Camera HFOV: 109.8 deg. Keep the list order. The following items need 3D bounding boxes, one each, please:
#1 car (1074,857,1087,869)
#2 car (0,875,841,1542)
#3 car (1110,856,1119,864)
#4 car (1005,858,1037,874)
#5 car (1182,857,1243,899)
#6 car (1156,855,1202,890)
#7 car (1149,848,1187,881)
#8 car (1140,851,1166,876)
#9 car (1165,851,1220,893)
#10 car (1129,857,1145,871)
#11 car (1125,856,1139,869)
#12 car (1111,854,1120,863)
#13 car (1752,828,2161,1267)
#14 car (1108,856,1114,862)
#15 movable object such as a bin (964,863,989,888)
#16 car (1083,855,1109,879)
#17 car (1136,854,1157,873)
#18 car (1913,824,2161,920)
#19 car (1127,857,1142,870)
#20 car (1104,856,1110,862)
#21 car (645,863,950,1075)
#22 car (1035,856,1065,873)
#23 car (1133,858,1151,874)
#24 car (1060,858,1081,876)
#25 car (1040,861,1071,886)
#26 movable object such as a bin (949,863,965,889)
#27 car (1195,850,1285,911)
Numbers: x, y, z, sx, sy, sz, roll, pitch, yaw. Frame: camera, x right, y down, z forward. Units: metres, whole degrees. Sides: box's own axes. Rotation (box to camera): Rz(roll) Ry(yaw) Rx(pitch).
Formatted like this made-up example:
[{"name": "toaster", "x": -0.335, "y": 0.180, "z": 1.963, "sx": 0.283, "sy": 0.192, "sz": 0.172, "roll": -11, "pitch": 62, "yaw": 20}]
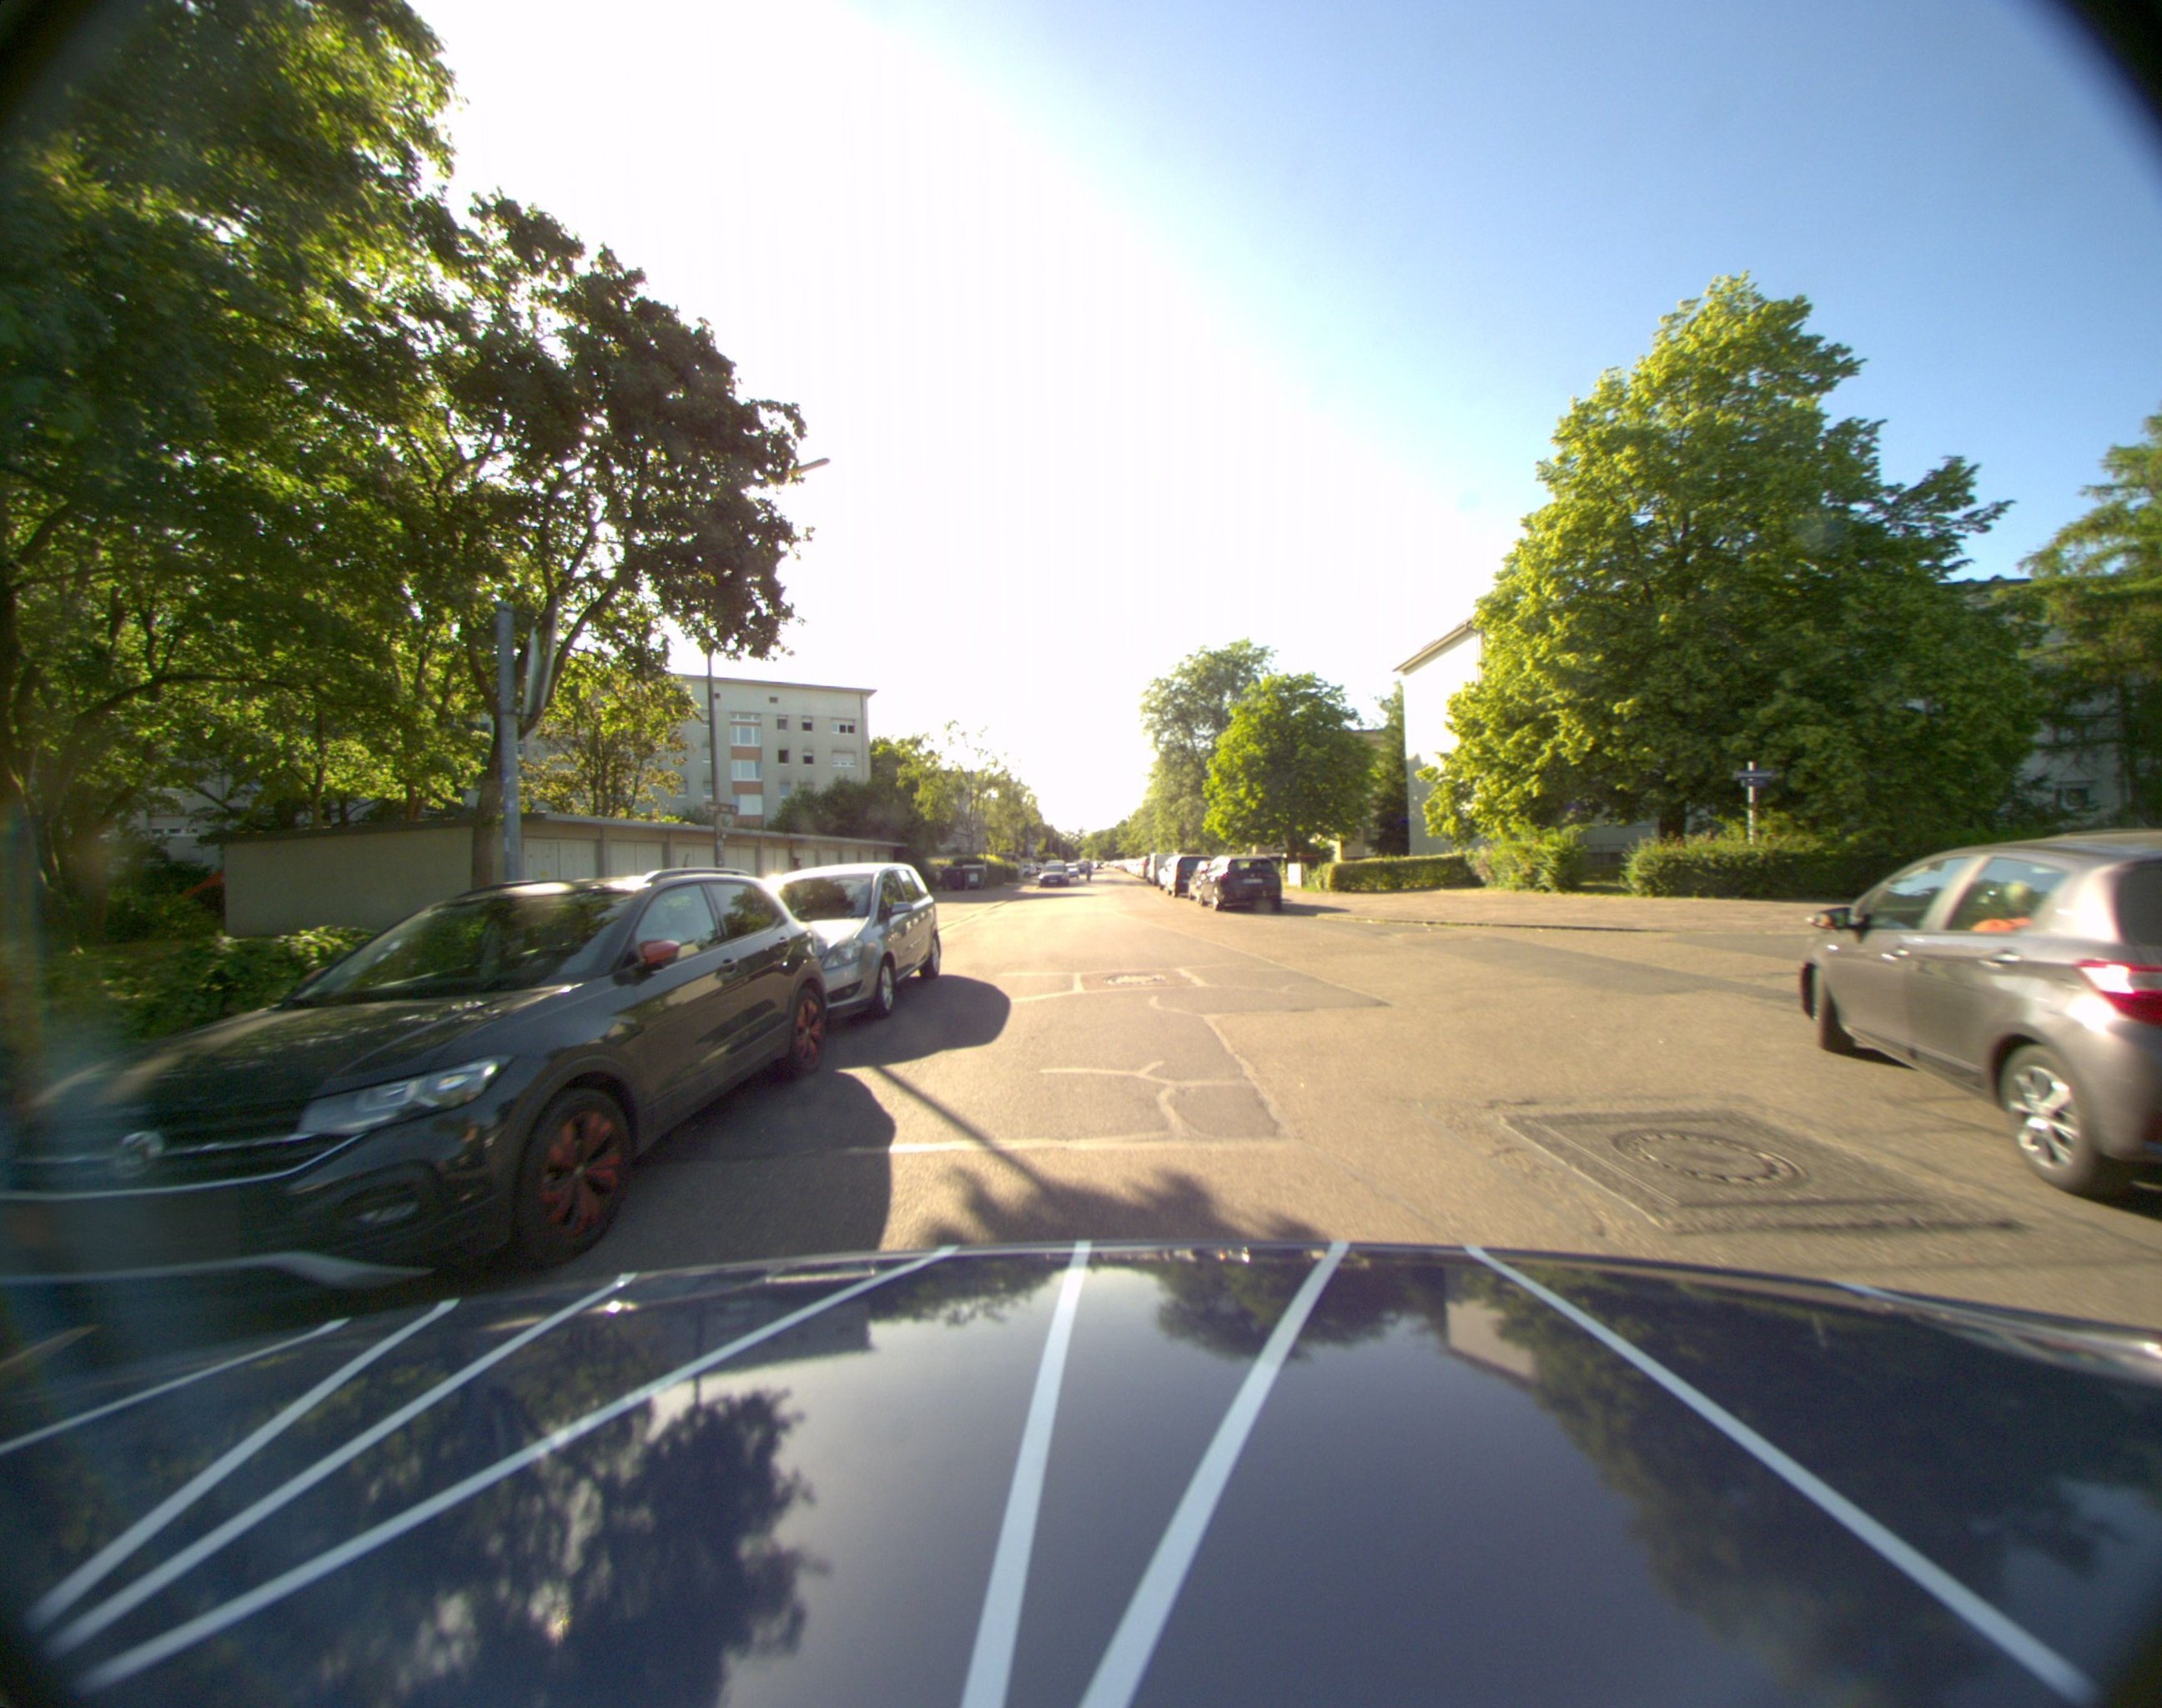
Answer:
[{"name": "car", "x": -0.079, "y": 1.282, "z": 105.671, "sx": 1.732, "sy": 1.586, "sz": 3.813, "roll": -3, "pitch": 0, "yaw": 1}, {"name": "car", "x": -2.877, "y": 1.020, "z": 4.001, "sx": 1.809, "sy": 1.584, "sz": 4.023, "roll": -4, "pitch": 0, "yaw": 0}, {"name": "car", "x": 6.967, "y": 1.176, "z": 158.599, "sx": 1.632, "sy": 1.619, "sz": 3.556, "roll": 0, "pitch": 0, "yaw": 1}, {"name": "car", "x": -6.670, "y": 1.273, "z": 84.596, "sx": 3.504, "sy": 1.499, "sz": 1.602, "roll": -4, "pitch": 1, "yaw": -5}, {"name": "car", "x": 4.717, "y": 0.836, "z": 27.669, "sx": 1.627, "sy": 1.428, "sz": 3.654, "roll": 0, "pitch": 0, "yaw": 1}, {"name": "car", "x": 4.855, "y": 0.887, "z": 38.170, "sx": 1.732, "sy": 1.630, "sz": 4.169, "roll": 0, "pitch": 0, "yaw": -1}, {"name": "car", "x": 5.220, "y": 0.629, "z": 45.932, "sx": 1.909, "sy": 1.930, "sz": 4.511, "roll": 0, "pitch": 0, "yaw": 2}, {"name": "car", "x": 5.777, "y": 0.735, "z": 61.304, "sx": 1.732, "sy": 1.941, "sz": 3.813, "roll": 0, "pitch": 0, "yaw": 1}, {"name": "car", "x": 4.659, "y": 0.732, "z": 32.240, "sx": 1.817, "sy": 1.672, "sz": 3.648, "roll": 1, "pitch": 0, "yaw": 1}, {"name": "car", "x": 6.646, "y": 1.200, "z": 90.710, "sx": 1.632, "sy": 1.619, "sz": 3.556, "roll": 0, "pitch": 0, "yaw": 1}, {"name": "car", "x": 6.693, "y": 1.087, "z": 100.167, "sx": 1.632, "sy": 1.619, "sz": 3.556, "roll": 0, "pitch": 0, "yaw": 1}, {"name": "car", "x": 6.932, "y": 0.897, "z": 151.487, "sx": 1.632, "sy": 1.619, "sz": 3.556, "roll": 0, "pitch": 0, "yaw": 1}, {"name": "car", "x": 5.327, "y": 0.644, "z": 3.983, "sx": 1.651, "sy": 1.547, "sz": 4.008, "roll": -1, "pitch": 1, "yaw": 25}, {"name": "car", "x": 8.355, "y": 1.405, "z": 209.314, "sx": 1.632, "sy": 1.619, "sz": 3.556, "roll": 0, "pitch": 0, "yaw": 1}, {"name": "movable object such as a bin", "x": -6.099, "y": 1.234, "z": 44.554, "sx": 1.278, "sy": 1.433, "sz": 1.179, "roll": 0, "pitch": 1, "yaw": -1}, {"name": "car", "x": 1.087, "y": 0.945, "z": 55.988, "sx": 1.732, "sy": 1.586, "sz": 3.813, "roll": -3, "pitch": 0, "yaw": 1}, {"name": "car", "x": 5.737, "y": 0.838, "z": 67.178, "sx": 1.632, "sy": 1.619, "sz": 3.556, "roll": 0, "pitch": 0, "yaw": 1}, {"name": "car", "x": 17.443, "y": 0.276, "z": 13.298, "sx": 3.925, "sy": 1.534, "sz": 1.746, "roll": -1, "pitch": 1, "yaw": -1}, {"name": "car", "x": 6.623, "y": 1.145, "z": 94.526, "sx": 1.632, "sy": 1.619, "sz": 3.556, "roll": 0, "pitch": 0, "yaw": 1}, {"name": "car", "x": 7.593, "y": 1.451, "z": 222.224, "sx": 1.632, "sy": 1.629, "sz": 3.566, "roll": 0, "pitch": 0, "yaw": 1}, {"name": "car", "x": -2.812, "y": 1.018, "z": 8.723, "sx": 1.773, "sy": 1.601, "sz": 4.371, "roll": -4, "pitch": 1, "yaw": 0}, {"name": "car", "x": -4.108, "y": 1.410, "z": 100.494, "sx": 3.777, "sy": 2.002, "sz": 1.810, "roll": -4, "pitch": 1, "yaw": 0}, {"name": "car", "x": 6.259, "y": 1.259, "z": 78.486, "sx": 1.632, "sy": 1.619, "sz": 3.556, "roll": 0, "pitch": 0, "yaw": 1}, {"name": "car", "x": -0.932, "y": 1.220, "z": 71.176, "sx": 1.732, "sy": 1.586, "sz": 3.813, "roll": -3, "pitch": 0, "yaw": 1}, {"name": "car", "x": -1.630, "y": 1.211, "z": 49.073, "sx": 1.732, "sy": 1.462, "sz": 3.813, "roll": -3, "pitch": 0, "yaw": 1}, {"name": "movable object such as a bin", "x": -7.209, "y": 1.268, "z": 44.131, "sx": 0.754, "sy": 1.433, "sz": 0.848, "roll": 0, "pitch": 1, "yaw": -1}, {"name": "car", "x": 4.559, "y": 0.716, "z": 22.424, "sx": 1.784, "sy": 1.564, "sz": 4.424, "roll": -2, "pitch": 0, "yaw": 1}]
